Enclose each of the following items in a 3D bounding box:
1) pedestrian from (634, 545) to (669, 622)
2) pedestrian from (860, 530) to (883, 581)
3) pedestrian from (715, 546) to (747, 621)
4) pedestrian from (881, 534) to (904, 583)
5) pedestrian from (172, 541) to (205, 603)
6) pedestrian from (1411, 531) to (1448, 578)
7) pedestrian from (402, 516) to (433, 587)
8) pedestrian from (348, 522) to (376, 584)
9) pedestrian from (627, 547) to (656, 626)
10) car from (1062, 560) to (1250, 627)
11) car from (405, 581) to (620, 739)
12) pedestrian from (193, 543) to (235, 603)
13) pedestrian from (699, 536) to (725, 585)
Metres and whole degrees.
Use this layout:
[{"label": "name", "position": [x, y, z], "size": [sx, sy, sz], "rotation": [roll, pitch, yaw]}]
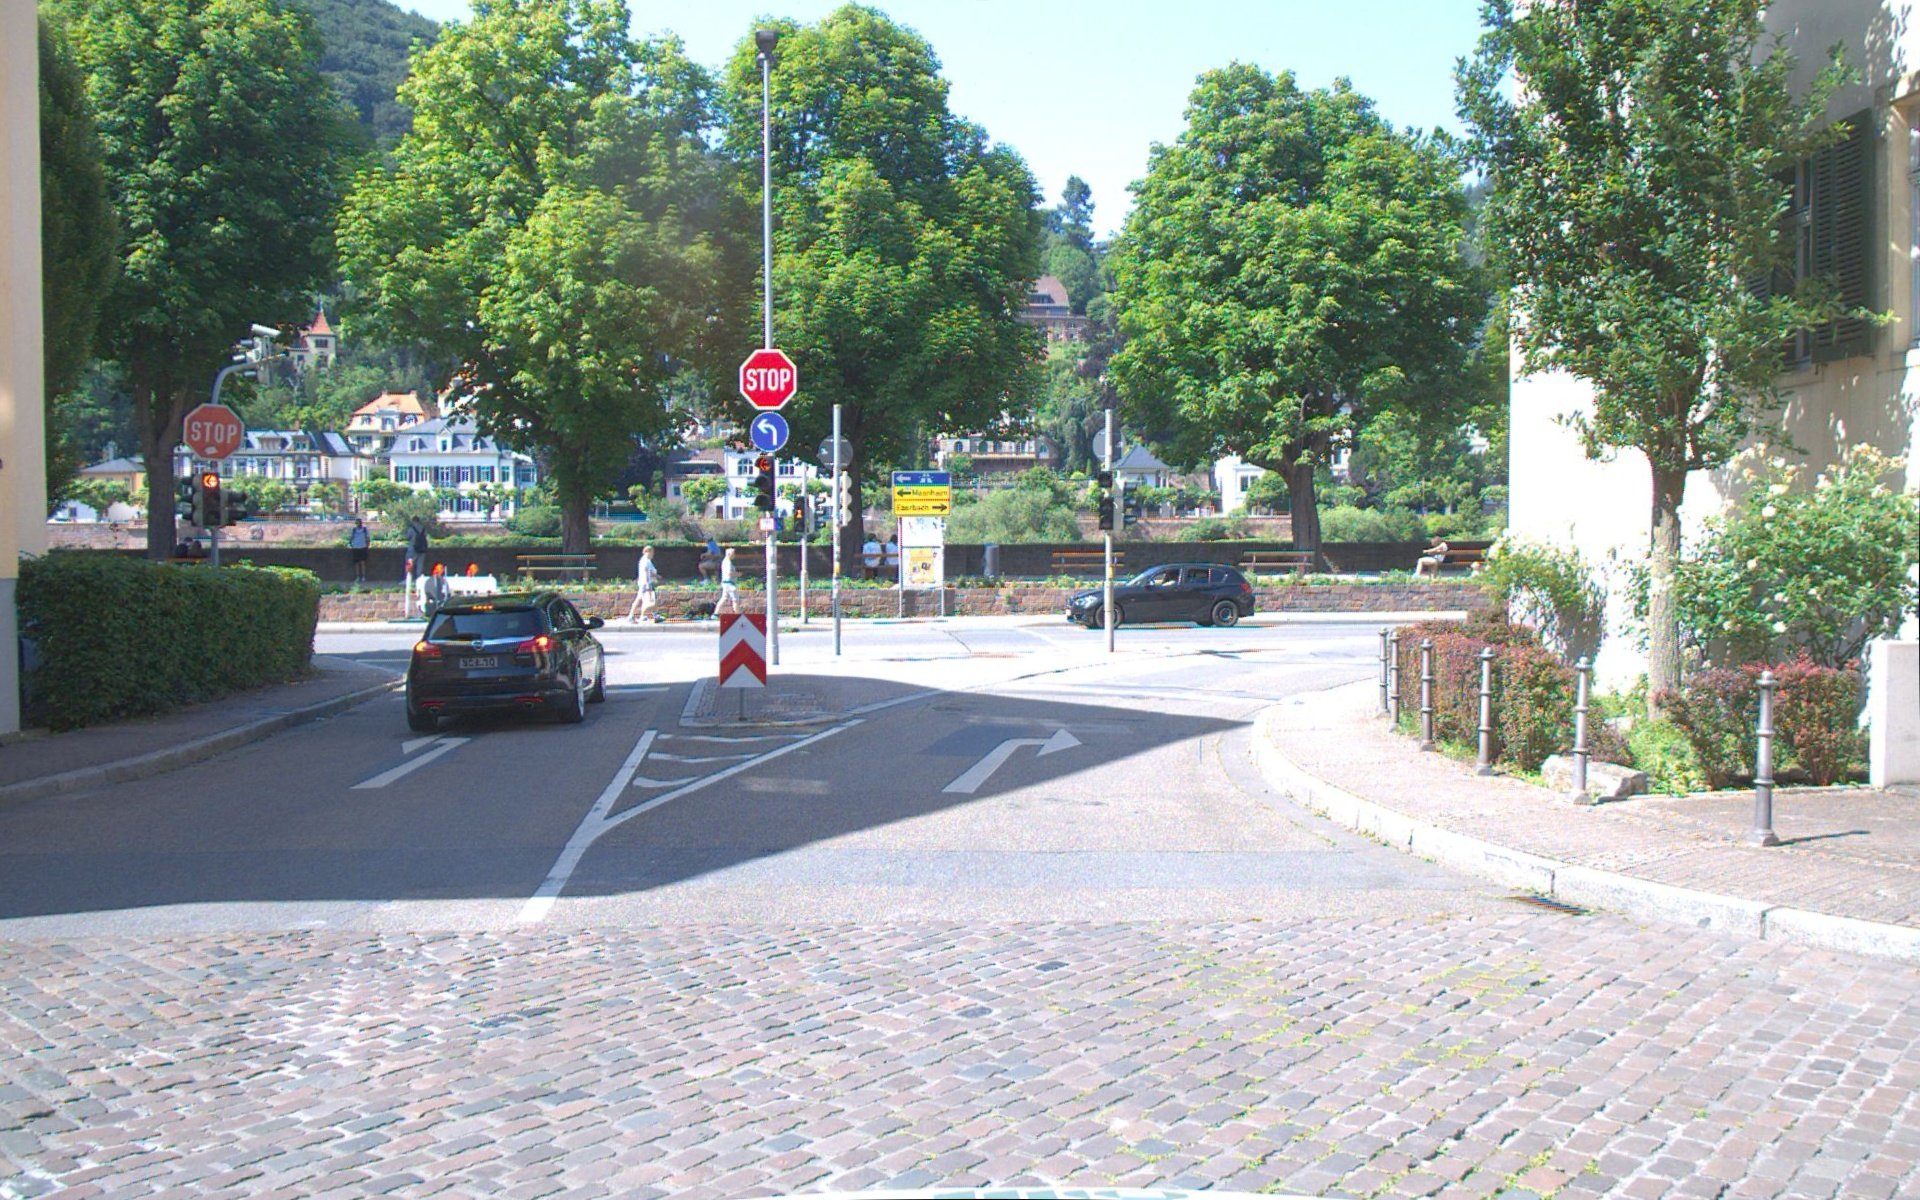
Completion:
[{"label": "pedestrian", "position": [-7.468, -0.389, 40.072], "size": [0.707, 1.833, 0.633], "rotation": [-1, 0, -4]}, {"label": "pedestrian", "position": [-2.350, -1.170, 43.862], "size": [0.542, 1.302, 0.703], "rotation": [2, -2, -5]}, {"label": "pedestrian", "position": [-5.554, -0.398, 40.098], "size": [0.674, 1.800, 0.717], "rotation": [-1, 0, -3]}, {"label": "pedestrian", "position": [-1.802, -1.103, 44.078], "size": [0.542, 1.250, 0.984], "rotation": [2, -2, -6]}, {"label": "pedestrian", "position": [-19.381, -0.705, 41.543], "size": [0.458, 1.519, 0.804], "rotation": [0, 1, -2]}, {"label": "pedestrian", "position": [12.997, -1.255, 45.835], "size": [0.782, 1.232, 0.715], "rotation": [2, -2, -4]}, {"label": "pedestrian", "position": [-14.734, -1.310, 44.917], "size": [0.752, 1.890, 0.751], "rotation": [0, 0, -24]}, {"label": "pedestrian", "position": [-17.077, -1.343, 47.267], "size": [0.696, 1.762, 0.753], "rotation": [0, 0, -17]}, {"label": "pedestrian", "position": [-7.439, -0.318, 38.685], "size": [0.566, 1.833, 0.705], "rotation": [0, 0, -4]}, {"label": "car", "position": [4.365, -0.166, 37.217], "size": [3.910, 1.443, 1.872], "rotation": [0, 1, -6]}, {"label": "car", "position": [-5.062, 0.581, 19.303], "size": [1.681, 1.487, 4.718], "rotation": [-2, 2, -7]}, {"label": "pedestrian", "position": [-18.861, -0.692, 41.831], "size": [0.457, 1.505, 1.384], "rotation": [0, 1, -2]}, {"label": "pedestrian", "position": [-6.453, -1.022, 43.018], "size": [0.631, 1.249, 0.412], "rotation": [0, 0, -17]}]
